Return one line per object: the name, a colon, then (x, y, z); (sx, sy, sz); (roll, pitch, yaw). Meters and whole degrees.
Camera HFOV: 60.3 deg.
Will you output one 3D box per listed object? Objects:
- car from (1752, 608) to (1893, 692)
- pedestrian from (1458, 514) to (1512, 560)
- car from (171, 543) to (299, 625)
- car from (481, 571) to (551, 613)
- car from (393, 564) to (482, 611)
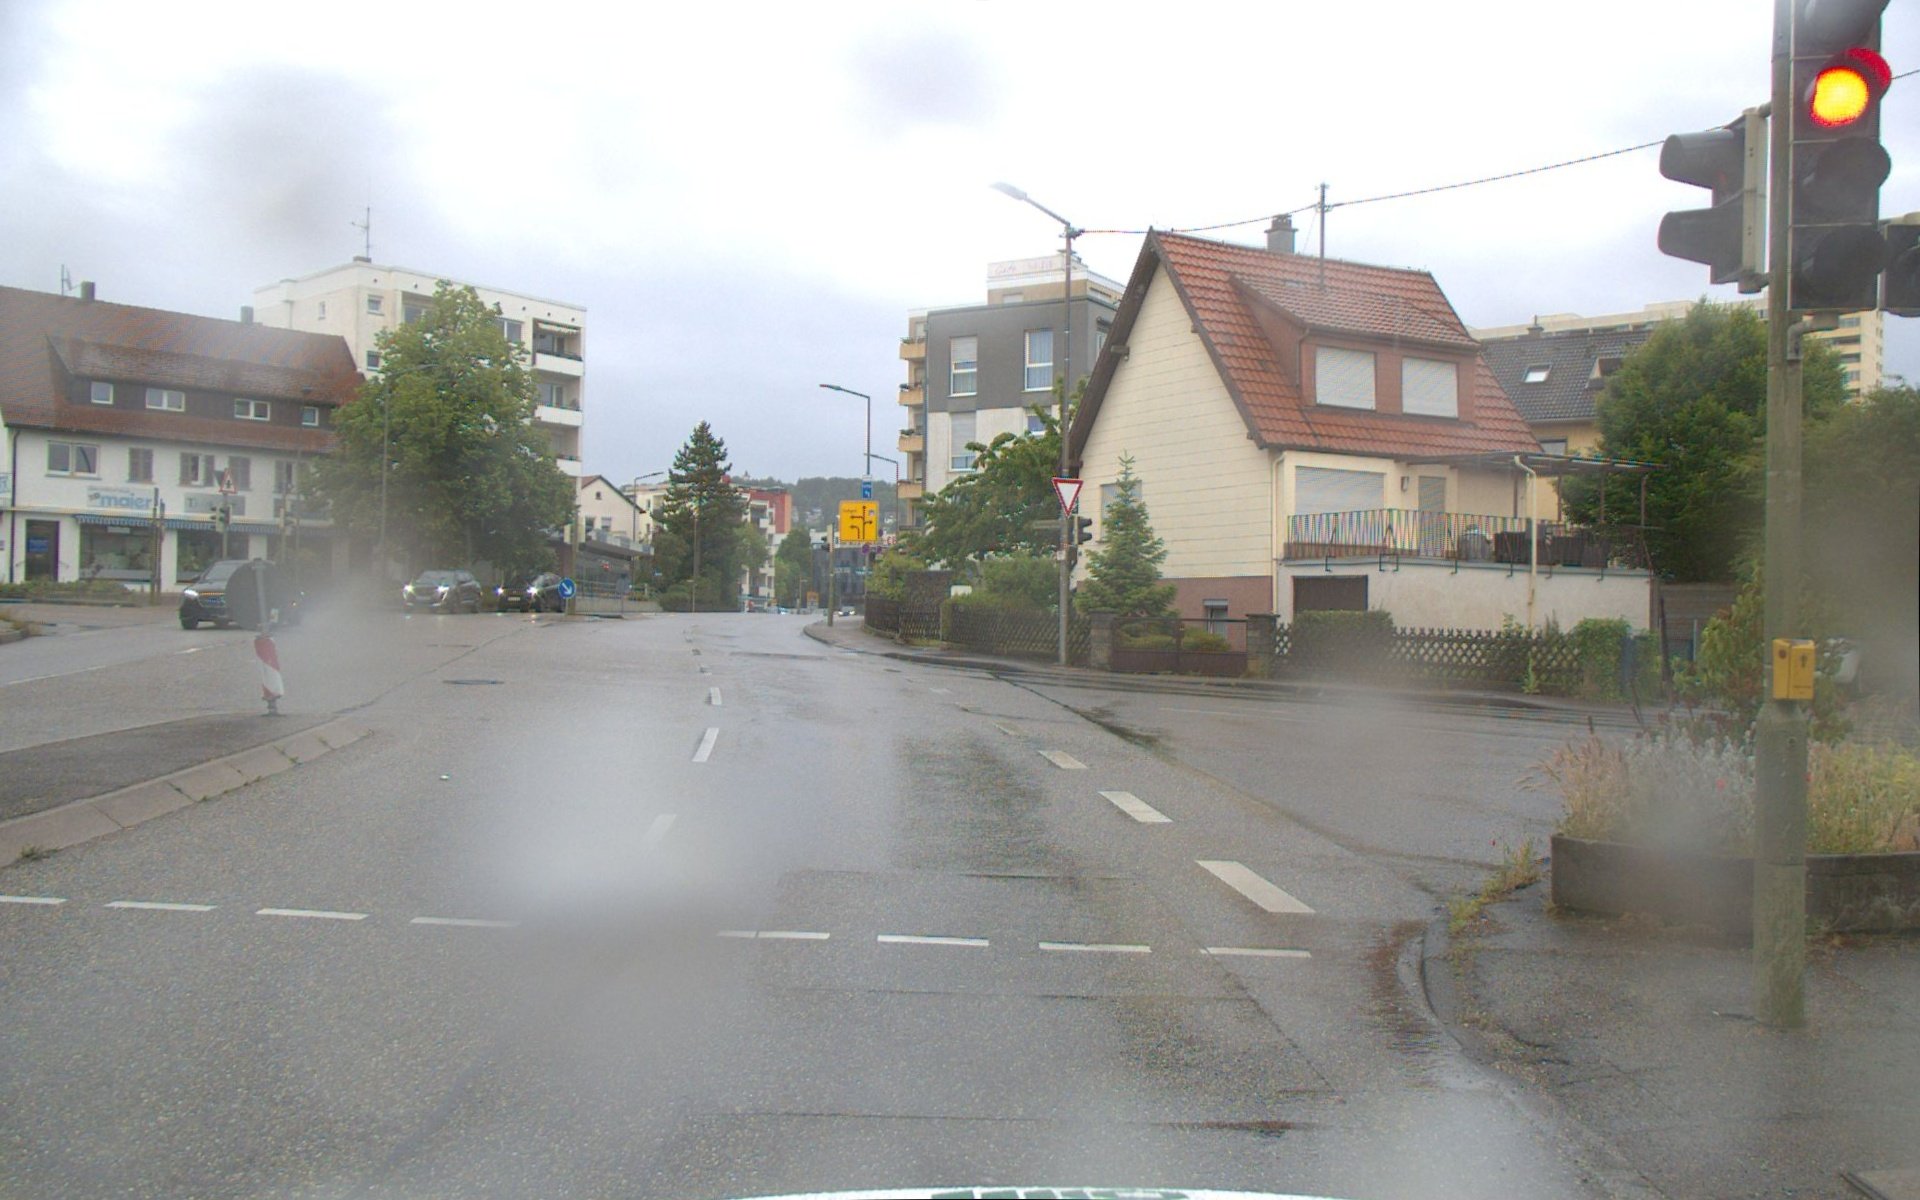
car: (15.621, 0.862, 29.869); (1.780, 1.386, 3.986); (1, 0, 35)
pedestrian: (11.151, -1.337, 35.170); (0.902, 0.898, 0.632); (1, -2, -20)
car: (-16.008, -0.336, 36.393); (1.974, 1.653, 4.490); (1, 0, -31)
car: (-18.111, -0.313, 67.612); (1.841, 1.625, 4.182); (1, 0, -2)
car: (-18.055, -0.410, 57.335); (1.927, 1.538, 3.998); (1, 0, -2)
